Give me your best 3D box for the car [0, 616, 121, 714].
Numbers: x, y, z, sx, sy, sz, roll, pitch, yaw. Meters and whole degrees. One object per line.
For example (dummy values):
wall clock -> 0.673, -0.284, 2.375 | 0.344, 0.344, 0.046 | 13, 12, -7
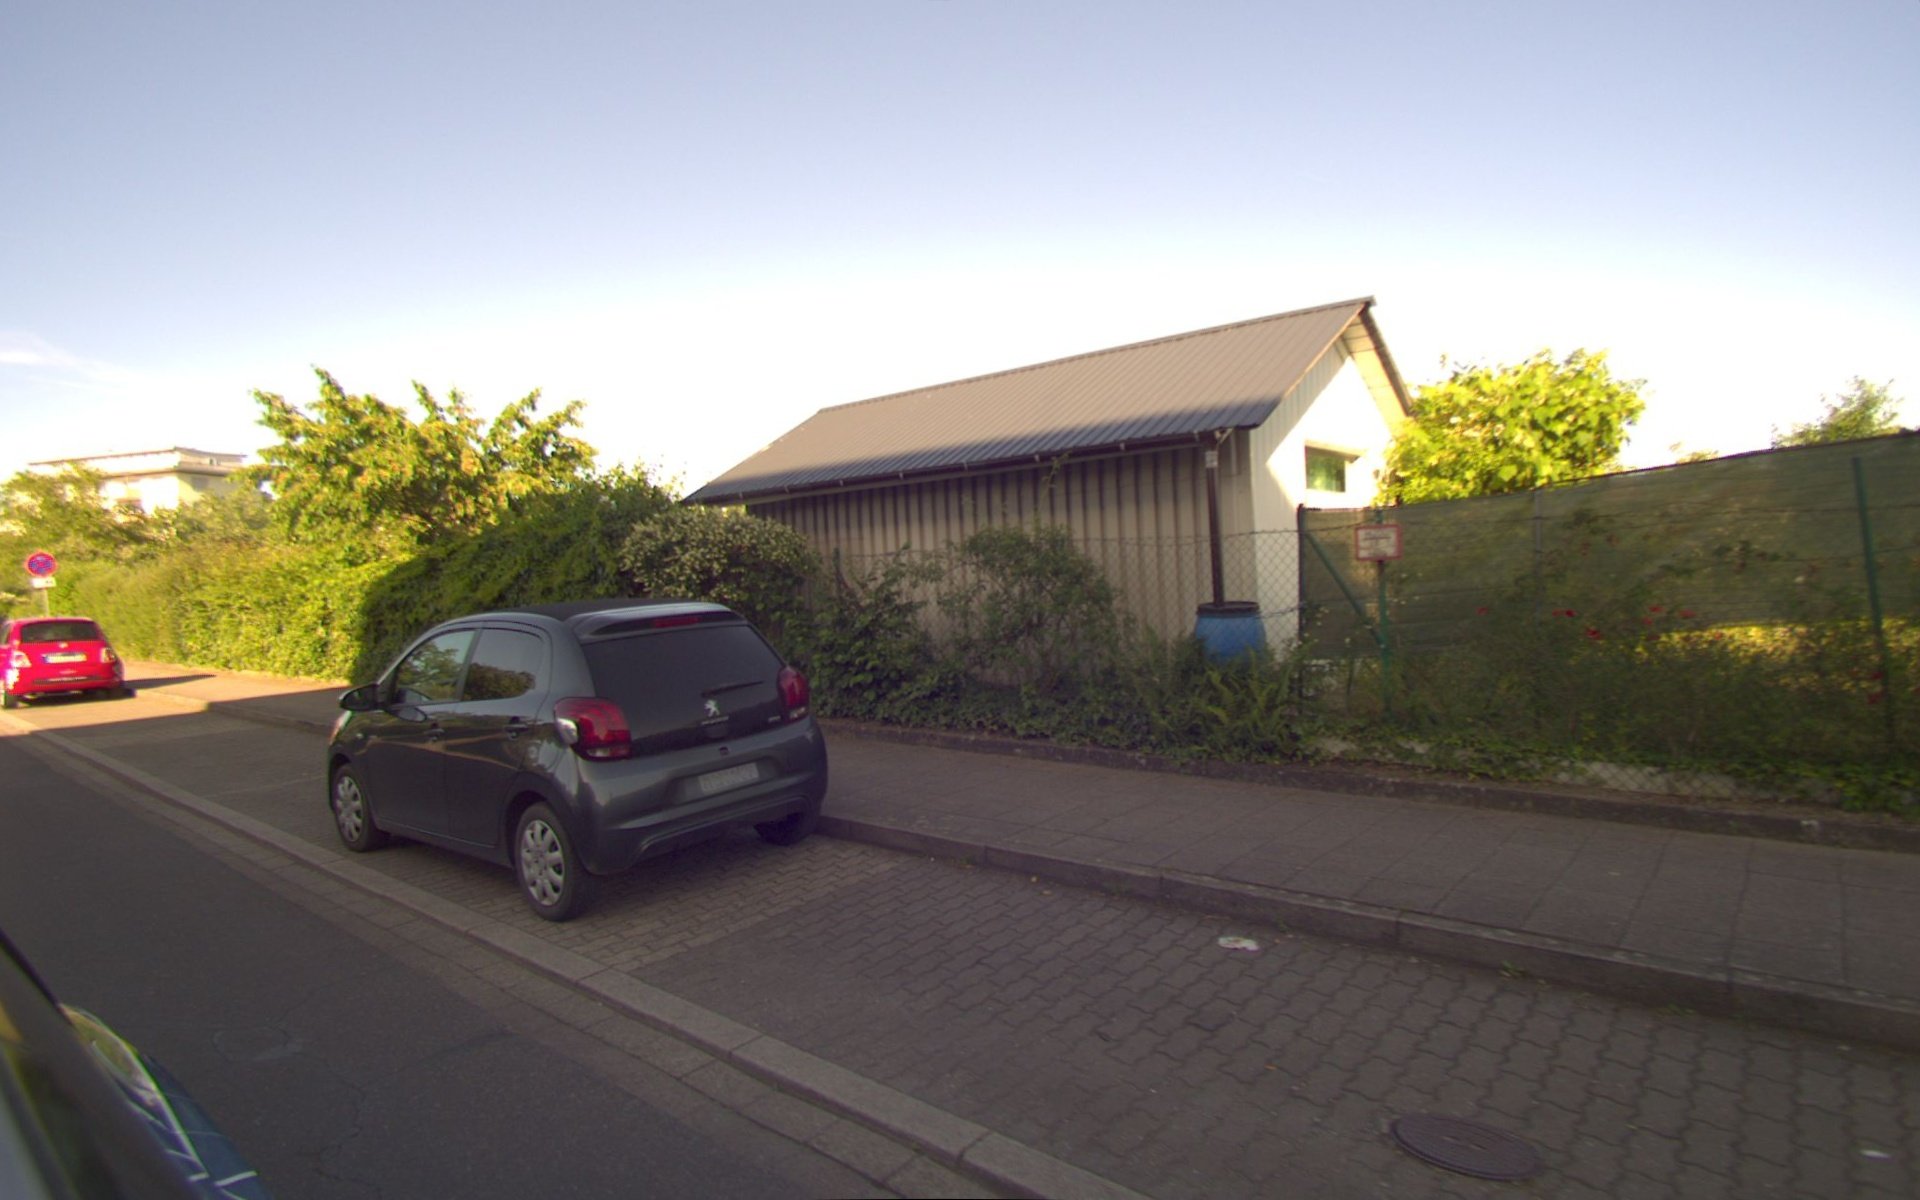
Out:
car -> -16.233, 1.085, 17.904 | 3.568, 1.506, 1.544 | -2, 0, 41

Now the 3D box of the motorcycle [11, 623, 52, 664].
motorcycle -> -30.762, 1.415, 33.527 | 2.087, 1.277, 0.561 | -1, 2, 37

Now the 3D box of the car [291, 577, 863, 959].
car -> -2.410, 0.730, 5.964 | 3.568, 1.505, 1.544 | -2, 3, 41
